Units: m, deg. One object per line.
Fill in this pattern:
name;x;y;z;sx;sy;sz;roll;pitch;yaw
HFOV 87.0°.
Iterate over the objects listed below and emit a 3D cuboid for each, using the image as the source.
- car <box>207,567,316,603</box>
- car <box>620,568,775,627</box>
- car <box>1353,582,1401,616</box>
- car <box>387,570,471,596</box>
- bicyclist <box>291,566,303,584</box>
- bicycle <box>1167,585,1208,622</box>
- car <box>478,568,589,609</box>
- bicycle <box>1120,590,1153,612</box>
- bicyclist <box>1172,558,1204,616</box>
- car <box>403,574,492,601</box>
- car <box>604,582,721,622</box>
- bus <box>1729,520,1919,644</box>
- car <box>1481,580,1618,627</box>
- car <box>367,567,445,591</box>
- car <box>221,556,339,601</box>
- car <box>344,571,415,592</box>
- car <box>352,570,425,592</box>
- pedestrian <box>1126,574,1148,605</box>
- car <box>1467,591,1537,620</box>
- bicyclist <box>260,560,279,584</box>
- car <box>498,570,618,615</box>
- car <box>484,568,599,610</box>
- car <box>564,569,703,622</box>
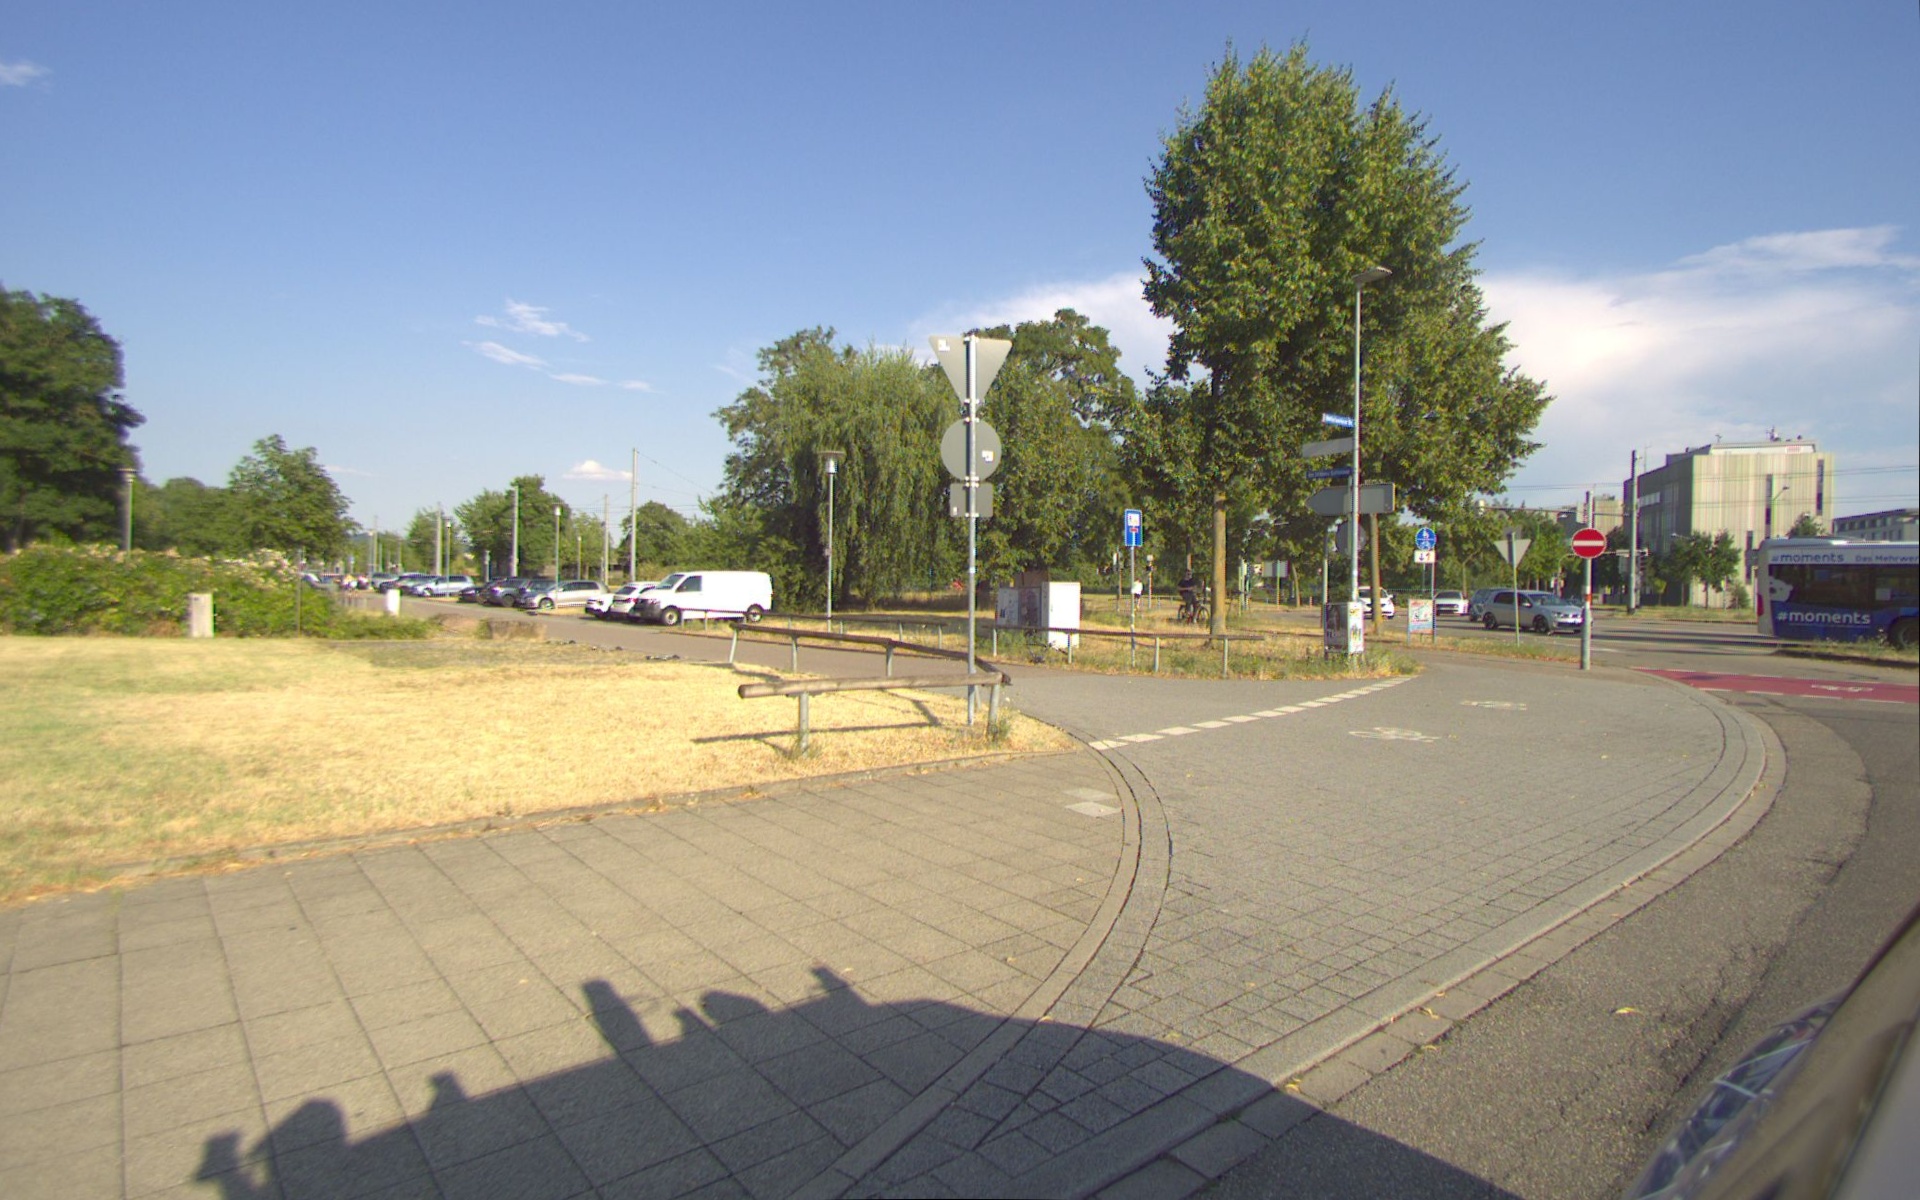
car;-32.112;-0.685;46.584;3.931;1.549;1.997;0;1;-42
car;-9.711;-0.141;37.651;5.127;2.038;2.267;-1;2;-40
car;20.770;-0.070;50.545;1.887;1.570;4.024;2;1;18
car;-37.721;-1.211;71.981;4.969;1.724;2.267;0;1;-40
bicyclist;-57.888;-2.207;88.369;0.737;1.544;0.891;1;1;-44
bicycle;7.280;0.107;32.545;0.628;1.137;2.128;1;1;-6
car;-22.518;-0.627;53.532;4.969;2.039;2.267;0;1;-40
bicycle;8.476;0.047;48.538;1.881;1.068;0.533;0;1;-44
bicyclist;7.303;-0.423;32.409;0.713;1.823;0.939;1;0;-6
car;-34.521;-0.861;68.190;4.969;1.724;2.267;0;1;-40
car;-11.513;0.051;39.243;3.930;1.461;1.868;0;1;-41
bus;26.290;-0.397;24.379;2.614;3.100;12.186;0;1;-33
car;21.033;0.070;36.293;1.958;1.542;4.009;1;1;-15
car;-42.510;-1.606;77.728;4.969;1.724;2.267;0;1;-40
car;-28.708;-0.886;42.786;3.931;1.816;1.890;0;1;-42
car;-49.750;-1.574;86.810;4.969;1.724;2.267;0;1;-40
car;-47.181;-1.585;83.581;4.969;1.724;2.267;0;1;-40
pedestrian;8.454;-0.498;48.382;0.754;1.409;0.652;1;1;-43
car;24.117;0.199;45.179;1.619;1.193;3.987;1;1;11
bicyclist;-46.798;-1.891;68.617;0.919;1.612;0.823;1;1;-43
car;-19.379;-0.366;48.883;4.969;2.039;2.267;0;1;-40
car;-21.082;-0.576;51.075;4.969;2.039;2.267;0;1;-40
car;-13.362;-0.218;41.626;4.969;2.039;2.267;0;1;-40
